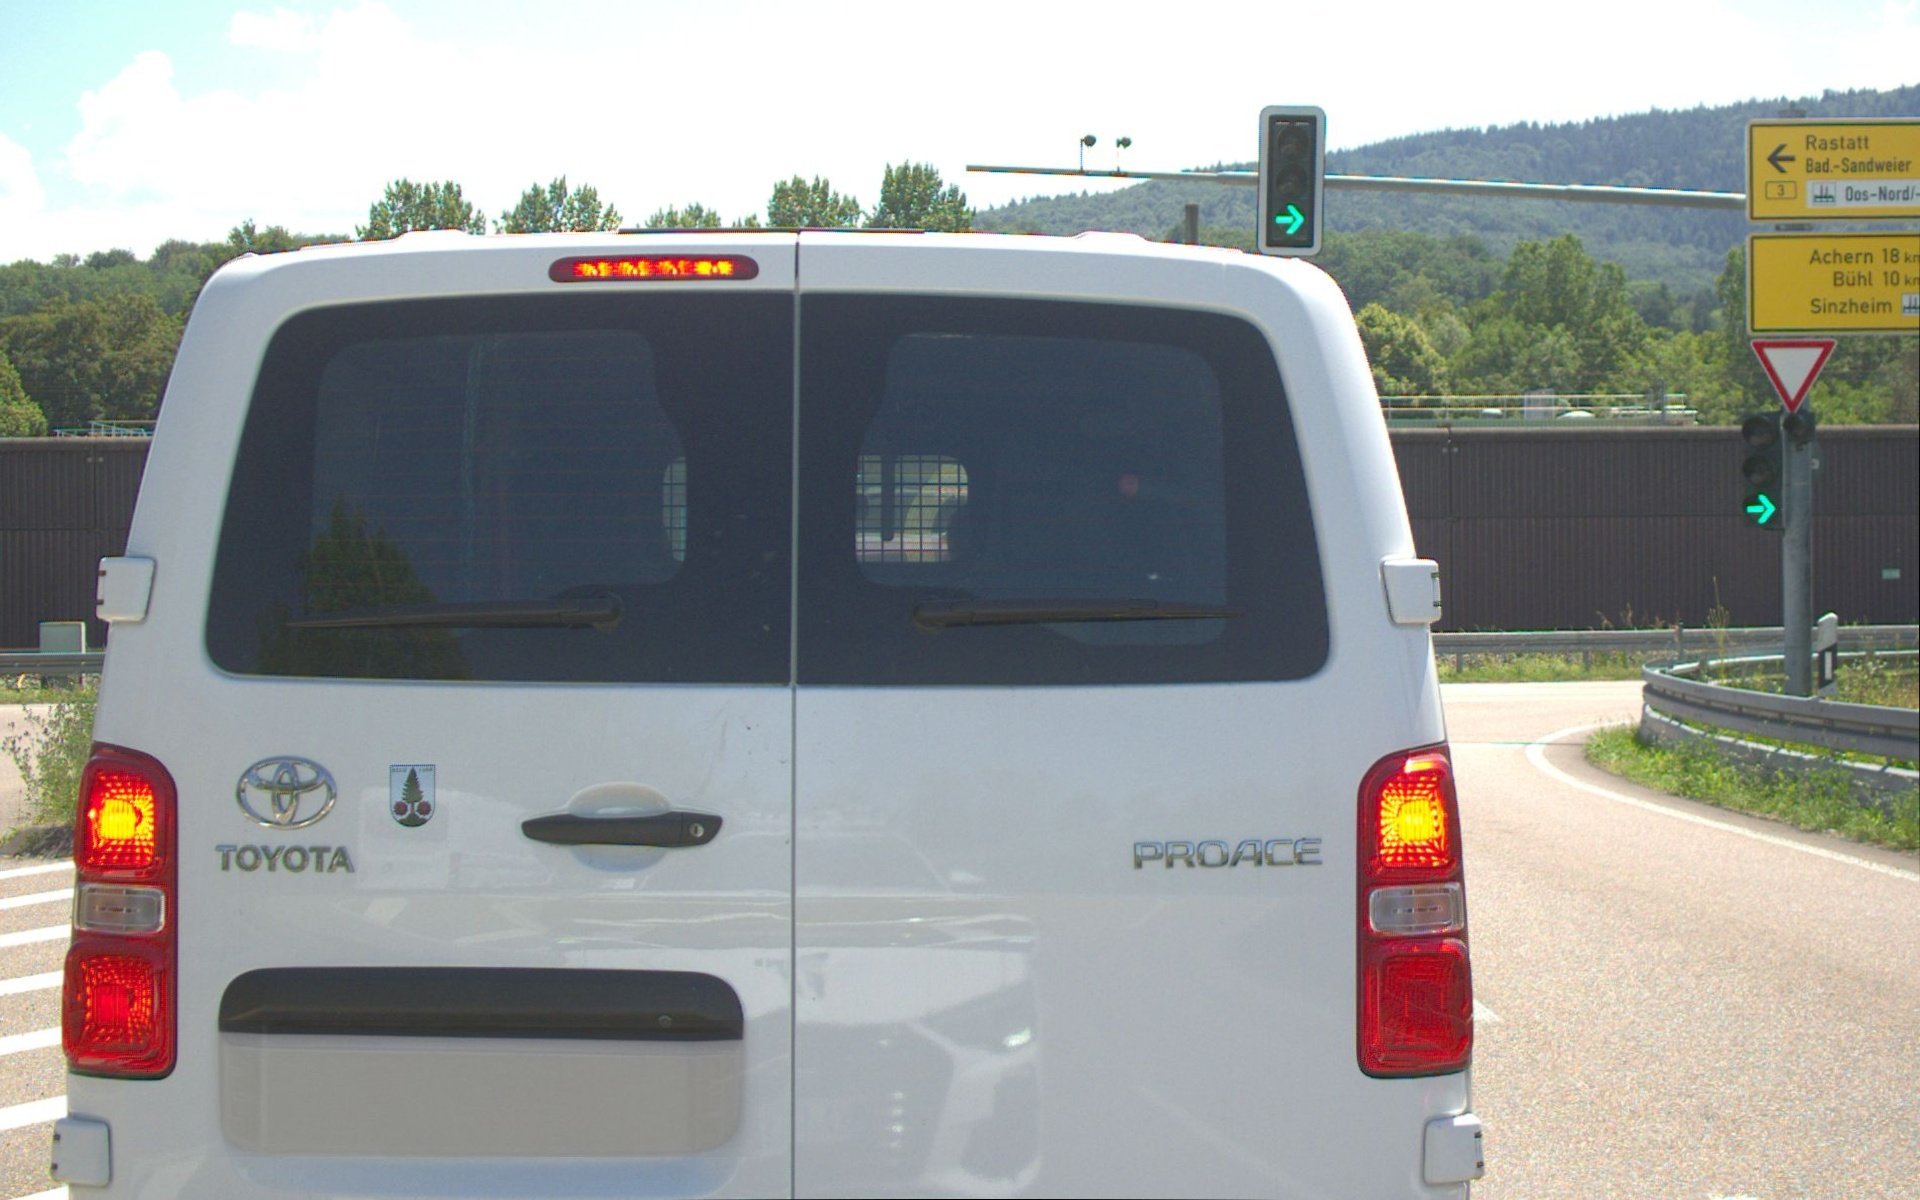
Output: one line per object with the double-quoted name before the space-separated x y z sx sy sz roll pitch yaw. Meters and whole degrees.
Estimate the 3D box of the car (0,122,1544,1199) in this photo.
"car" -0.262 0.440 5.955 1.814 2.011 4.000 0 1 -1
